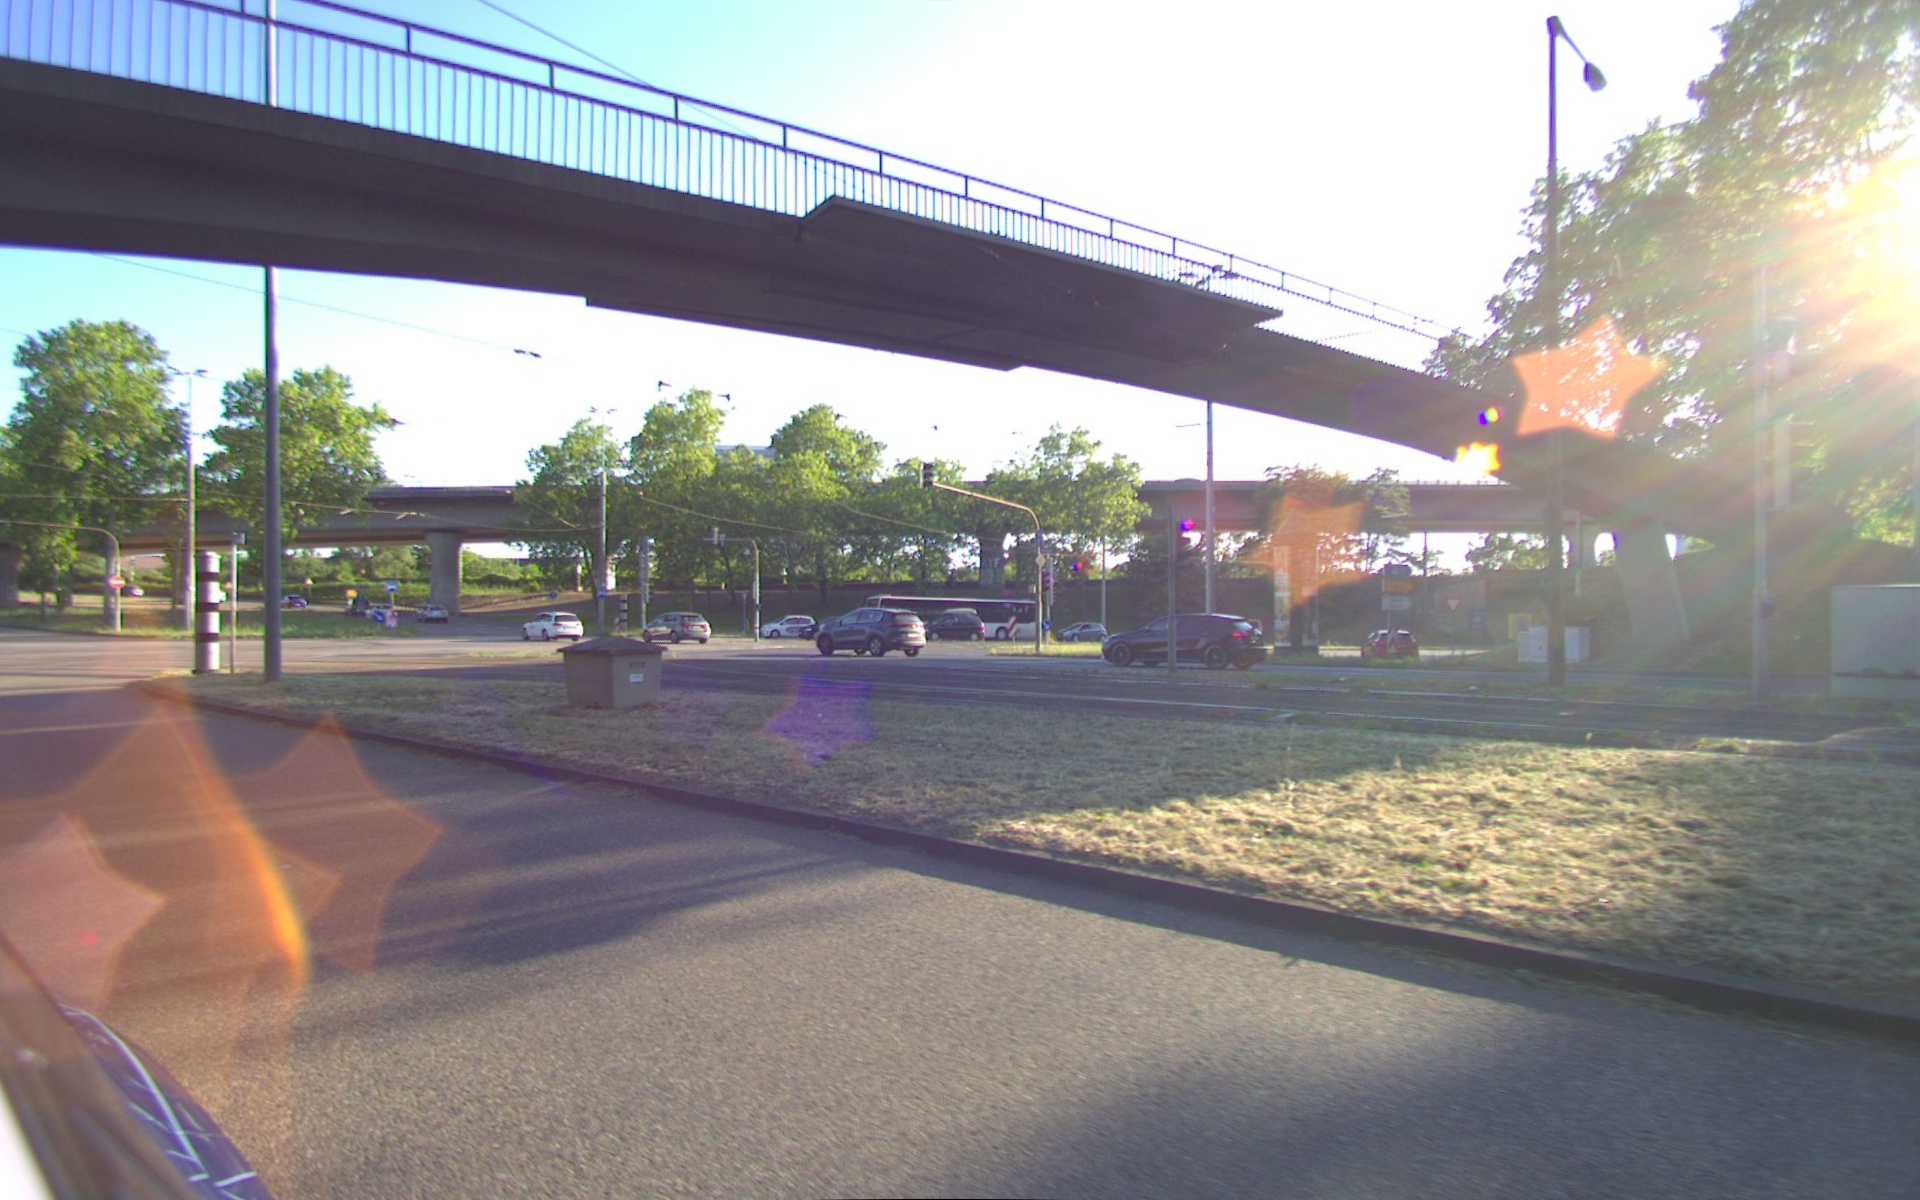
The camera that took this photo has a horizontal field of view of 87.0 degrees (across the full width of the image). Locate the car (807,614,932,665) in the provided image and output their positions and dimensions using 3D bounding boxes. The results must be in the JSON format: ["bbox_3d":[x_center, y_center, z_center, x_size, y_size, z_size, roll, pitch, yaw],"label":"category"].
[{"bbox_3d":[-3.148,1.307,34.806,4.355,1.663,1.772,-1,-1,41],"label":"car"}]

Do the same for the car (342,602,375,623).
[{"bbox_3d":[-56.240,1.187,94.575,1.828,1.881,4.151,2,-2,-42],"label":"car"}]

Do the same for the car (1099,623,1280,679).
[{"bbox_3d":[5.885,1.263,26.205,4.304,1.320,1.670,-1,-1,39],"label":"car"}]

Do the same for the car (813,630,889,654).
[{"bbox_3d":[-6.380,2.444,59.263,4.024,1.364,1.722,1,-1,-29],"label":"car"}]

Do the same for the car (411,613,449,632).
[{"bbox_3d":[-44.554,1.879,85.026,1.828,1.621,4.376,2,-2,-41],"label":"car"}]

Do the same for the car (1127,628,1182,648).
[{"bbox_3d":[14.849,2.899,77.286,3.931,1.453,1.710,1,-1,-29],"label":"car"}]

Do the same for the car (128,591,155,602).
[{"bbox_3d":[-110.645,-0.417,136.811,3.720,1.433,1.679,0,-1,31],"label":"car"}]

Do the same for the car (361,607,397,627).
[{"bbox_3d":[-48.110,1.415,83.794,1.828,1.621,4.315,2,-2,-40],"label":"car"}]

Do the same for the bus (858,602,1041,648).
[{"bbox_3d":[-0.588,1.786,69.708,12.630,2.977,2.840,1,-1,-27],"label":"bus"}]

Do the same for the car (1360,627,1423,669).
[{"bbox_3d":[18.240,1.981,42.933,1.779,1.663,4.337,0,-1,14],"label":"car"}]

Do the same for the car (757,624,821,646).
[{"bbox_3d":[-10.866,2.202,64.271,3.670,1.364,1.614,2,-1,-31],"label":"car"}]

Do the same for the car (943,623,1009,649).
[{"bbox_3d":[1.063,2.341,66.277,4.024,1.665,1.722,1,-1,-29],"label":"car"}]

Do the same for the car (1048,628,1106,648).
[{"bbox_3d":[8.647,2.826,74.817,3.931,1.453,1.710,1,-1,-29],"label":"car"}]

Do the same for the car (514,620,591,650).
[{"bbox_3d":[-21.021,1.780,52.107,1.982,1.454,4.863,1,-1,-44],"label":"car"}]

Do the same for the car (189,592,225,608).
[{"bbox_3d":[-95.672,0.028,128.594,4.688,1.920,1.979,0,-1,31],"label":"car"}]

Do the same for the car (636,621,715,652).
[{"bbox_3d":[-14.224,1.771,50.490,4.255,1.454,1.983,-1,-1,44],"label":"car"}]

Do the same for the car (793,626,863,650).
[{"bbox_3d":[-8.014,2.323,61.615,3.932,1.364,1.614,2,-1,-31],"label":"car"}]

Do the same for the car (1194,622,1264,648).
[{"bbox_3d":[21.272,2.756,80.000,5.331,2.029,2.006,1,-2,-24],"label":"car"}]

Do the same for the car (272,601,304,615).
[{"bbox_3d":[-77.861,0.940,117.252,3.931,1.570,1.974,0,-2,39],"label":"car"}]
